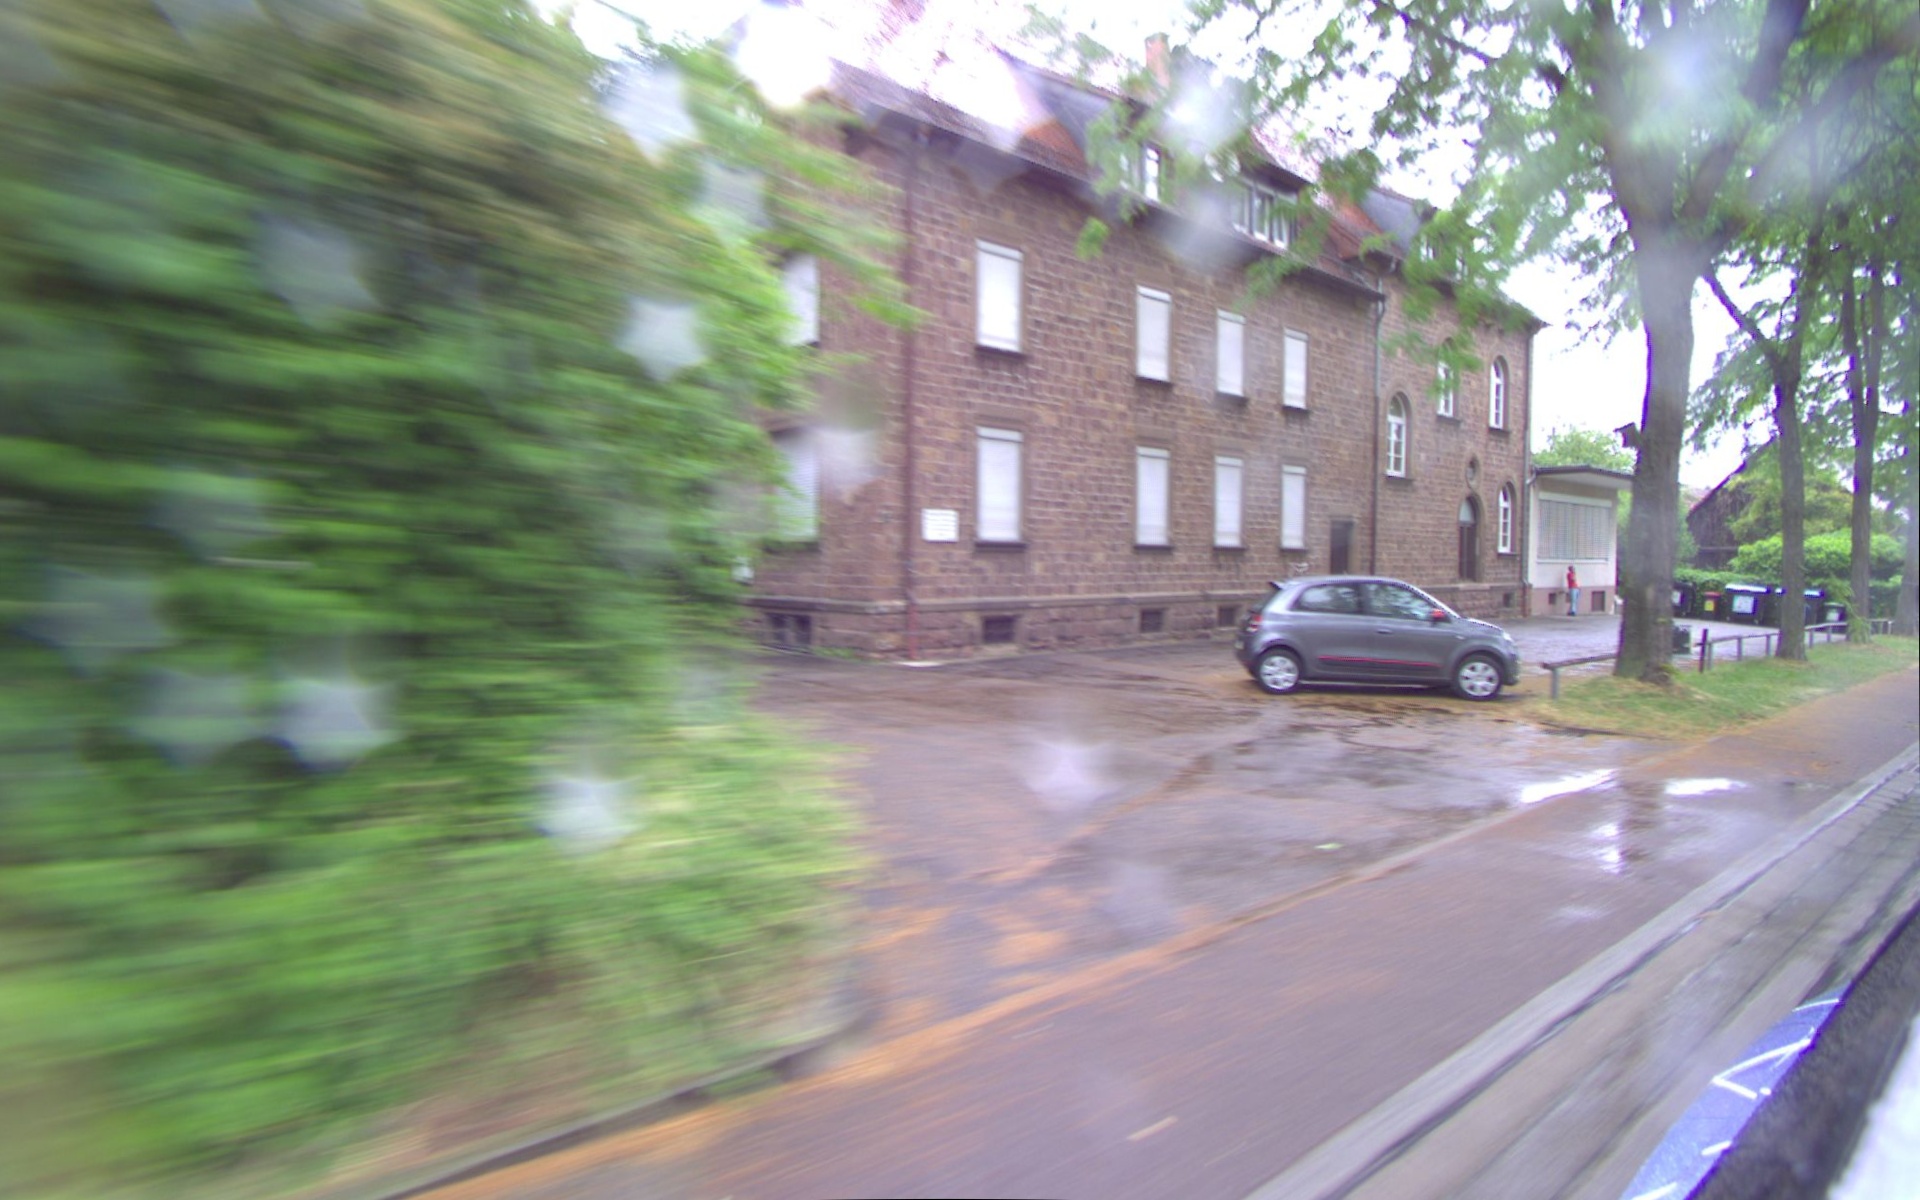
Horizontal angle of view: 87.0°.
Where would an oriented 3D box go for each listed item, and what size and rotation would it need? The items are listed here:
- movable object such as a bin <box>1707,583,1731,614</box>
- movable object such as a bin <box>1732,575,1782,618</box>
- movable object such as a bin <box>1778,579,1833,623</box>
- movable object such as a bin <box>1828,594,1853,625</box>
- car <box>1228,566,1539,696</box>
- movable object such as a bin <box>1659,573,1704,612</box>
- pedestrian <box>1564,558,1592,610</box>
[{"bbox_3d":[28.688,-0.060,38.258,0.521,1.092,0.567,0,5,-43],"label":"movable object such as a bin"},{"bbox_3d":[29.461,-0.133,37.418,0.782,1.453,1.238,0,6,-42],"label":"movable object such as a bin"},{"bbox_3d":[30.258,0.033,36.222,0.782,1.435,1.296,0,5,-42],"label":"movable object such as a bin"},{"bbox_3d":[30.898,0.337,35.497,0.455,1.035,0.538,0,5,-42],"label":"movable object such as a bin"},{"bbox_3d":[5.523,0.349,13.623,3.556,1.570,1.617,1,2,11],"label":"car"},{"bbox_3d":[27.842,-0.296,39.073,0.782,1.358,1.151,0,6,-41],"label":"movable object such as a bin"},{"bbox_3d":[21.349,-0.545,34.973,0.851,1.776,0.535,1,2,-41],"label":"pedestrian"}]
